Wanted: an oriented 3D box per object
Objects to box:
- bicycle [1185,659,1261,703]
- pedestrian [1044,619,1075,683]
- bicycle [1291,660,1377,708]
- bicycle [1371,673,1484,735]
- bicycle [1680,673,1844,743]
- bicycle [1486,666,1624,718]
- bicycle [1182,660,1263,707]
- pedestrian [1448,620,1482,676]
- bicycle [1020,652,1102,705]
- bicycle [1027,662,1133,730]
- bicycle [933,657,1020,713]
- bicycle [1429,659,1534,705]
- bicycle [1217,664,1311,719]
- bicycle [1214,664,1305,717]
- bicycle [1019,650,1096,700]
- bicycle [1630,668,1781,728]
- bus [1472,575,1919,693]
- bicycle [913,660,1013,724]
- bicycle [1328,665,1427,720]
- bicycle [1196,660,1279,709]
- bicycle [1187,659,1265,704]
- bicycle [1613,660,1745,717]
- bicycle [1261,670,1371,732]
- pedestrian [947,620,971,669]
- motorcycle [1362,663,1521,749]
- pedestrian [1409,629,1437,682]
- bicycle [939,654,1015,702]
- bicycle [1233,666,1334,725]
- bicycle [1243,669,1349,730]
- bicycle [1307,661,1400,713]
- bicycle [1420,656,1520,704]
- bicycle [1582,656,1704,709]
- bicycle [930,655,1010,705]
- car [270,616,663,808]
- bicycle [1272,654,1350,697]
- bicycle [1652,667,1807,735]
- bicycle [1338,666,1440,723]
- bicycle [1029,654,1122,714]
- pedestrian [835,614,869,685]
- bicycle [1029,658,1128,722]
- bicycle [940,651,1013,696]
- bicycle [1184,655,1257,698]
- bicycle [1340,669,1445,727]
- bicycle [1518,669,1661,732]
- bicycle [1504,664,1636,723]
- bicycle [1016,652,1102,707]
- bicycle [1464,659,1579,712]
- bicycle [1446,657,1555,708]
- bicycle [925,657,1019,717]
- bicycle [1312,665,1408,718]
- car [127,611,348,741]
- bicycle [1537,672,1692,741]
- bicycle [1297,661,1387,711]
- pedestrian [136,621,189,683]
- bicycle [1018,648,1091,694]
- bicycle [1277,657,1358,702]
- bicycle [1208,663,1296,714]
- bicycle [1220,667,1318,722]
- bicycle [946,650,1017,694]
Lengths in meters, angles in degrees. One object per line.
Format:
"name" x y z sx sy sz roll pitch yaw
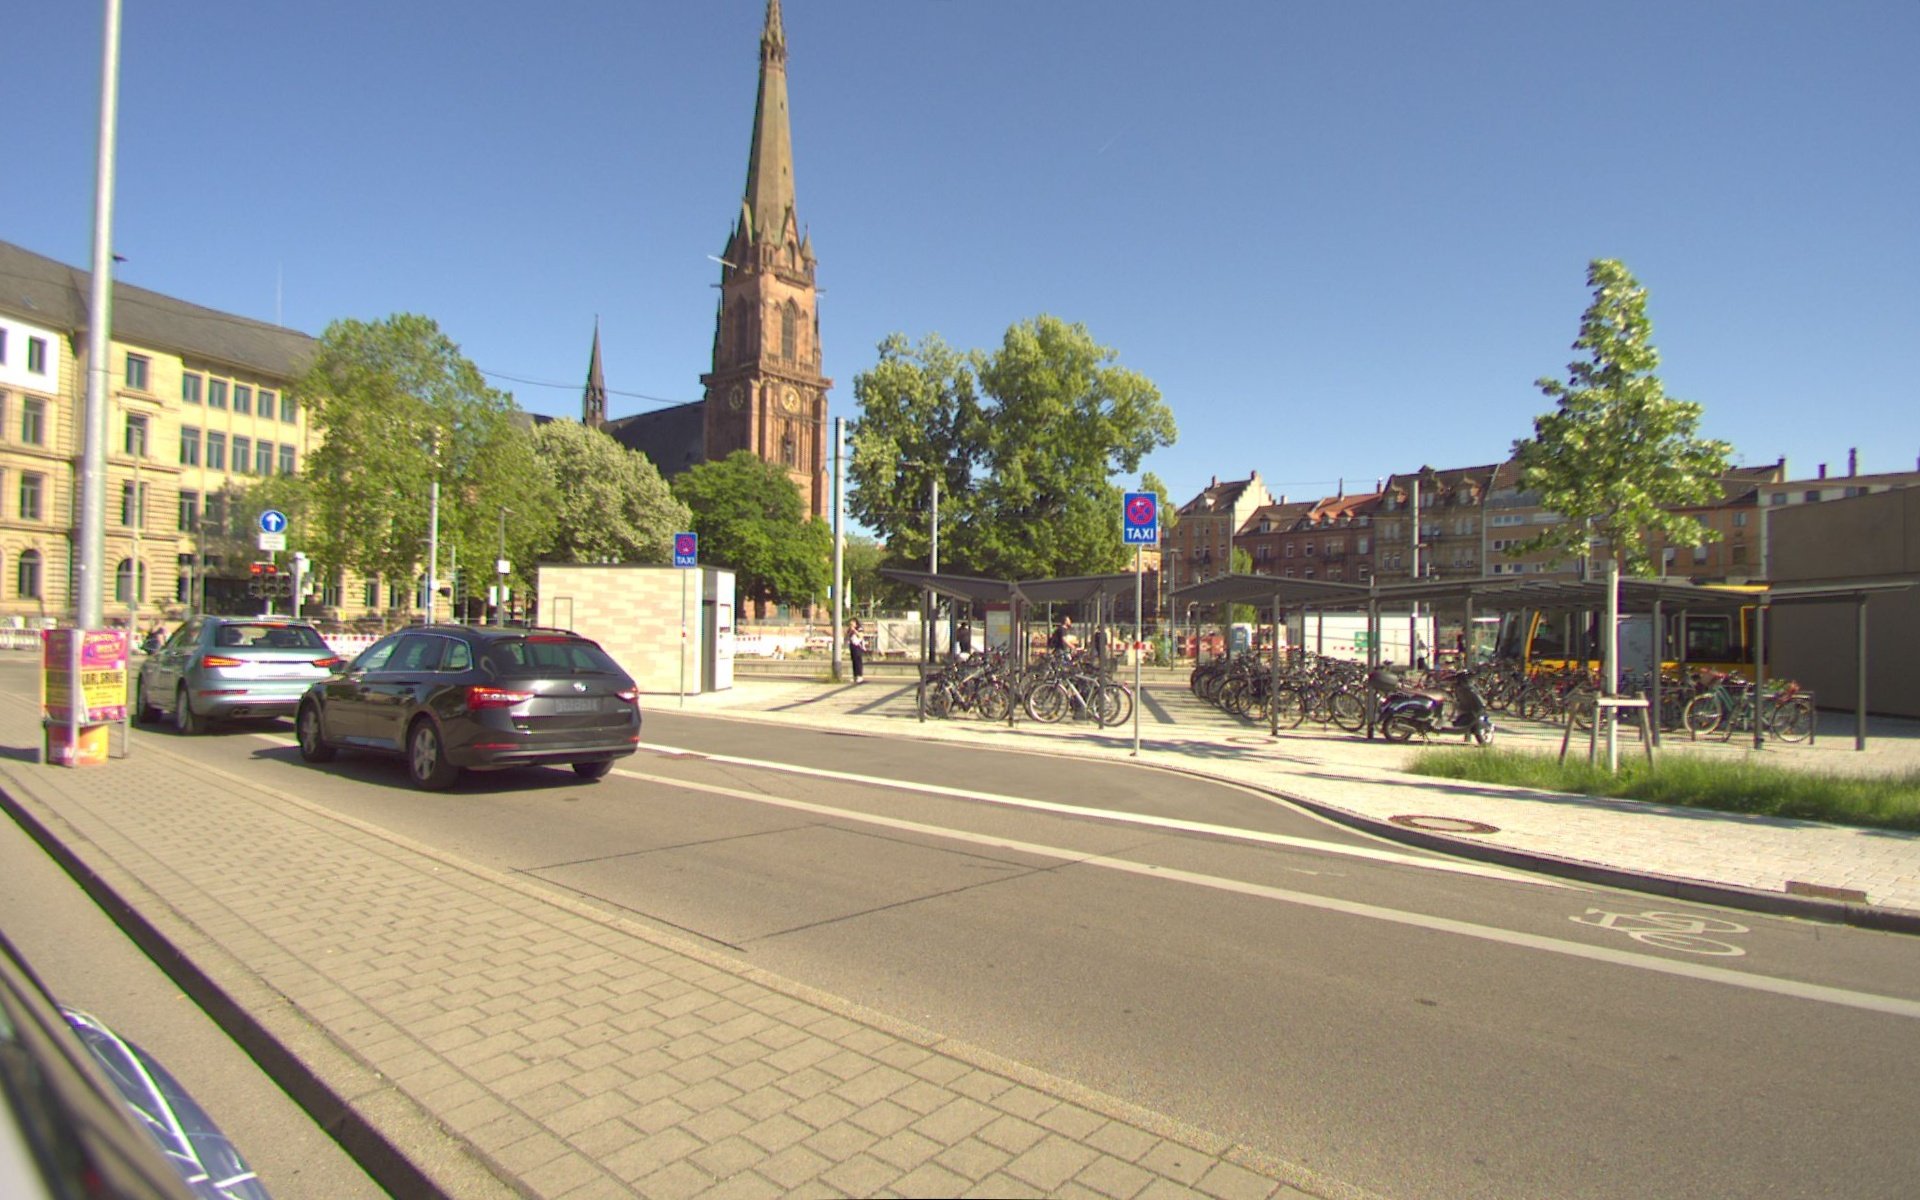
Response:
"bicycle" 6.131 1.883 23.630 1.661 0.980 0.406 1 -5 3
"pedestrian" 2.759 1.407 28.074 0.823 1.740 0.620 0 -2 4
"bicycle" 7.982 1.791 21.629 1.661 0.980 0.406 -1 0 3
"bicycle" 7.762 1.725 16.827 1.661 0.980 0.406 -1 0 3
"bicycle" 12.761 1.716 16.144 2.048 1.045 0.533 -1 0 8
"bicycle" 11.608 1.800 19.796 2.208 0.951 0.685 -1 0 7
"bicycle" 5.780 1.839 22.302 1.661 0.980 0.406 1 -5 3
"pedestrian" 17.680 1.687 35.449 0.793 1.931 0.769 0 -2 4
"bicycle" 2.187 1.696 22.034 1.755 1.083 0.406 1 0 6
"bicycle" 2.016 1.607 17.098 1.753 1.083 0.406 1 -3 6
"bicycle" 0.322 1.665 19.950 1.663 1.006 0.406 2 0 8
"bicycle" 12.025 1.881 23.380 2.048 1.045 0.533 -1 -4 8
"bicycle" 5.808 1.739 19.381 1.661 0.980 0.406 1 0 3
"bicycle" 5.895 1.782 19.964 1.661 0.980 0.406 1 0 3
"bicycle" 2.266 1.733 23.504 1.755 1.083 0.406 1 0 6
"bicycle" 13.473 1.765 18.336 2.117 1.005 0.690 -1 0 7
"bus" 22.140 0.936 28.631 13.462 3.095 2.859 0 -2 6
"bicycle" 0.061 1.575 17.388 1.663 1.006 0.406 2 0 8
"bicycle" 7.836 1.732 19.019 1.661 0.980 0.406 -1 0 3
"bicycle" 5.919 1.807 21.645 1.661 0.980 0.406 1 -5 3
"bicycle" 6.047 1.861 23.057 1.661 0.980 0.406 1 -5 3
"bicycle" 13.846 1.701 19.531 2.048 1.045 0.533 -1 0 8
"bicycle" 5.928 1.686 16.895 1.661 0.980 0.406 -1 0 3
"pedestrian" -0.027 1.714 39.116 0.610 1.874 0.703 2 -2 -39
"motorcycle" 7.187 1.572 15.165 2.059 1.228 0.569 -1 -2 3
"pedestrian" 17.828 2.118 38.975 0.793 2.029 0.535 0 -2 4
"bicycle" 0.379 1.706 22.290 1.663 1.006 0.406 0 0 8
"bicycle" 5.809 1.711 18.194 1.661 0.980 0.406 1 0 3
"bicycle" 5.788 1.711 17.469 1.661 0.980 0.406 1 0 3
"bicycle" 7.851 1.732 20.235 1.661 0.980 0.406 -1 0 3
"bicycle" 12.294 1.921 24.435 2.048 1.045 0.533 1 3 8
"bicycle" 14.072 1.698 20.883 2.048 1.045 0.533 -1 0 8
"bicycle" 0.223 1.677 21.409 1.663 1.006 0.406 0 0 8
"car" -5.181 0.986 10.291 4.781 1.516 1.795 -1 -4 41
"bicycle" 8.285 1.787 23.921 1.661 0.980 0.406 -1 0 3
"bicycle" 12.983 1.698 17.122 2.030 1.087 0.604 -1 0 7
"bicycle" 7.817 1.724 18.465 1.661 0.980 0.406 -1 0 3
"bicycle" 2.229 1.622 19.588 1.755 1.083 0.406 1 0 6
"pedestrian" -2.913 1.328 27.246 0.618 1.874 0.695 0 -2 28
"bicycle" 2.133 1.618 18.343 1.753 1.083 0.406 1 0 6
"bicycle" 0.387 1.703 23.668 1.663 1.006 0.406 0 0 8
"bicycle" 6.250 1.838 24.317 1.661 0.980 0.406 1 -5 3
"bicycle" 7.637 1.727 17.898 1.661 0.980 0.406 -1 0 3
"bicycle" 10.950 1.740 17.647 2.048 1.045 0.533 -1 0 8
"bicycle" 11.316 1.735 18.818 2.048 1.045 0.533 -1 0 8
"bicycle" 2.047 1.644 20.979 1.755 1.083 0.406 1 0 6
"bicycle" 11.770 1.797 21.271 2.048 1.045 0.533 -1 2 8
"bicycle" 11.860 1.803 22.261 2.048 1.045 0.533 -1 2 8
"bicycle" 0.225 1.598 18.607 1.663 1.006 0.406 2 0 8
"bicycle" 7.710 1.764 19.535 1.661 0.980 0.406 -1 0 3
"car" -10.506 1.020 14.596 4.258 1.594 1.768 -2 -4 44
"bicycle" 10.566 1.713 16.395 2.048 1.045 0.533 -1 0 8
"bicycle" 7.855 1.762 20.832 1.661 0.980 0.406 -1 0 3
"pedestrian" -22.063 1.430 28.010 0.627 1.680 0.924 0 -2 26
"bicycle" 2.308 1.725 24.683 1.755 1.083 0.406 1 0 6
"bicycle" 8.067 1.790 22.844 1.661 0.980 0.406 -1 0 3
"bicycle" 5.919 1.786 20.570 1.661 0.980 0.406 1 -5 3
"bicycle" 5.722 1.751 18.774 1.661 0.980 0.406 -1 0 3
"bicycle" 0.511 1.703 24.193 1.663 1.006 0.406 0 0 8
